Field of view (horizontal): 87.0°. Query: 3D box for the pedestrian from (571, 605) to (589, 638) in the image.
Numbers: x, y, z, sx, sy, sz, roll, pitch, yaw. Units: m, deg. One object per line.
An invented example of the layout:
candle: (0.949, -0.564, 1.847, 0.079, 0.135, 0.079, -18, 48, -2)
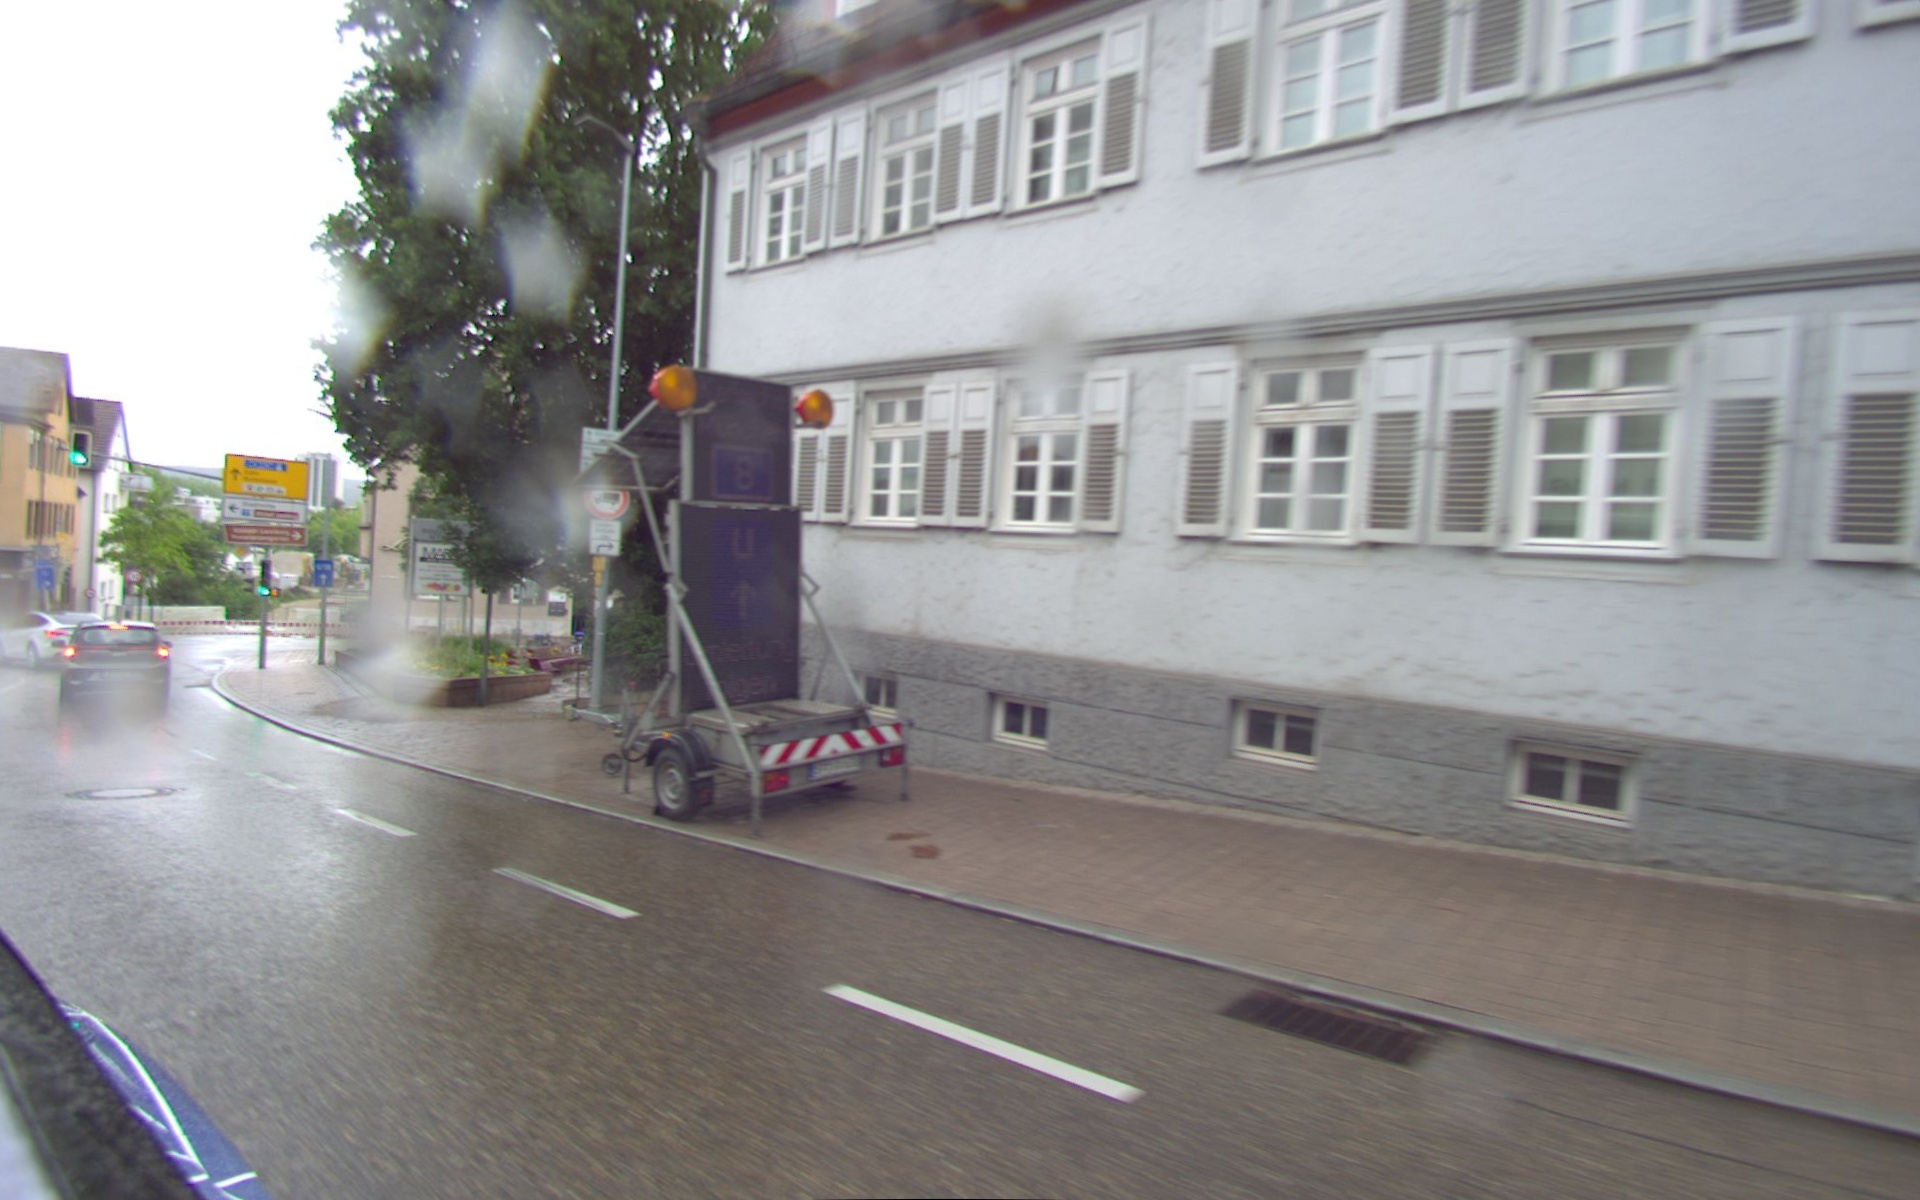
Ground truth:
pedestrian: (-19.891, 1.136, 52.956, 0.695, 1.723, 0.678, 2, -2, -33)

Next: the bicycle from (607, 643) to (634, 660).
bicycle: (-12.293, 1.865, 36.625, 0.407, 0.610, 0.842, -1, -3, 42)

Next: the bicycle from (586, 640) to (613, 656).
bicycle: (-13.404, 1.784, 37.605, 0.407, 0.610, 0.842, -1, -3, 42)

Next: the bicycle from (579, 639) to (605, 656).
bicycle: (-13.791, 1.776, 37.940, 0.407, 0.610, 0.842, -1, -3, 42)

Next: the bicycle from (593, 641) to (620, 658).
bicycle: (-13.012, 1.833, 37.291, 0.407, 0.610, 0.842, -1, -3, 42)

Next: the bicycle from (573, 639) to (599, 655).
bicycle: (-14.138, 1.772, 38.253, 0.407, 0.610, 0.842, -1, -3, 42)

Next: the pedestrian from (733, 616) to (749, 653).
pedestrian: (-11.999, 1.881, 55.415, 0.666, 2.029, 0.501, 1, -2, -37)

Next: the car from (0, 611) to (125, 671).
car: (-26.424, 1.179, 29.613, 4.373, 1.620, 1.945, 0, -3, 35)

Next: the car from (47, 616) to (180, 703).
car: (-16.205, 1.097, 19.313, 1.590, 1.483, 3.588, 4, -4, -45)

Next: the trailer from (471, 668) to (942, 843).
trailer: (-2.452, 1.199, 9.064, 4.476, 0.912, 1.972, -1, 0, 42)

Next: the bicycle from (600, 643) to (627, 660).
bicycle: (-12.648, 1.869, 36.955, 0.407, 0.610, 0.842, -1, -3, 42)
